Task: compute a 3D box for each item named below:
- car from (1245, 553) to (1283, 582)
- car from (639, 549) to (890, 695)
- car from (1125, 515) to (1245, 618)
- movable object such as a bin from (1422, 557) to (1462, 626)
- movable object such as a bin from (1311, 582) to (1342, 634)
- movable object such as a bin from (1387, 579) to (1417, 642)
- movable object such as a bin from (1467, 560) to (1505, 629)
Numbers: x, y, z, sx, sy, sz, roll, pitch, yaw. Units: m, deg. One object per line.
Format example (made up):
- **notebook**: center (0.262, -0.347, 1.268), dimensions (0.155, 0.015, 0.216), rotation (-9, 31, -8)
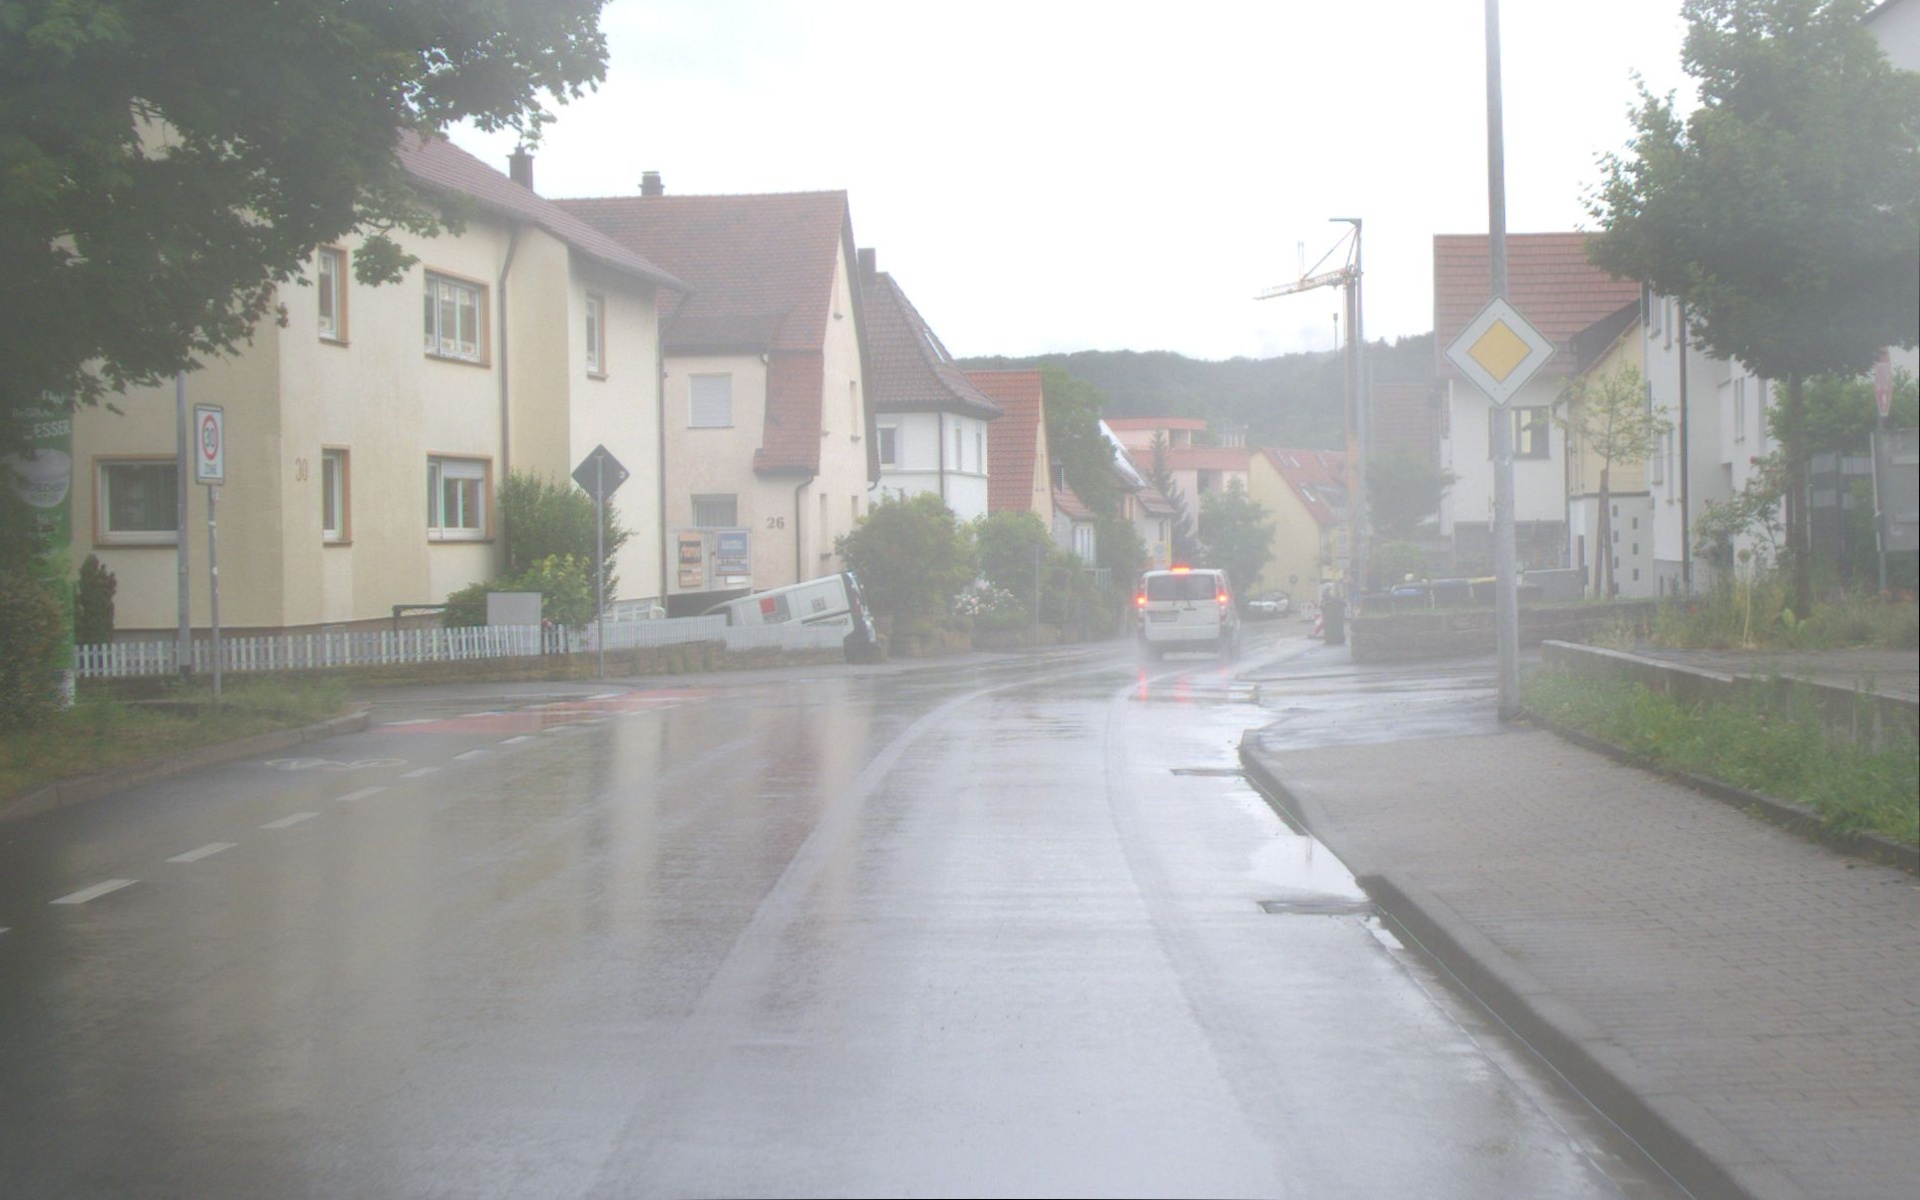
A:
- **car**: center (18.806, -2.022, 212.621), dimensions (1.842, 1.573, 4.288), rotation (1, 3, 12)
- **car**: center (-3.997, 0.434, 70.847), dimensions (4.555, 2.006, 2.159), rotation (-12, 1, 7)
- **car**: center (4.617, -0.719, 70.012), dimensions (2.118, 1.881, 4.501), rotation (1, 3, 8)
- **movable object such as a bin**: center (7.384, -0.133, 52.679), dimensions (0.544, 1.024, 0.632), rotation (1, 3, 5)
- **movable object such as a bin**: center (9.428, 0.203, 88.409), dimensions (0.745, 1.274, 0.882), rotation (-1, 2, 8)
- **movable object such as a bin**: center (6.782, 0.157, 52.791), dimensions (0.425, 0.937, 0.508), rotation (1, 3, 5)
- **movable object such as a bin**: center (8.052, -0.089, 52.639), dimensions (0.528, 1.024, 0.632), rotation (1, 3, 5)
